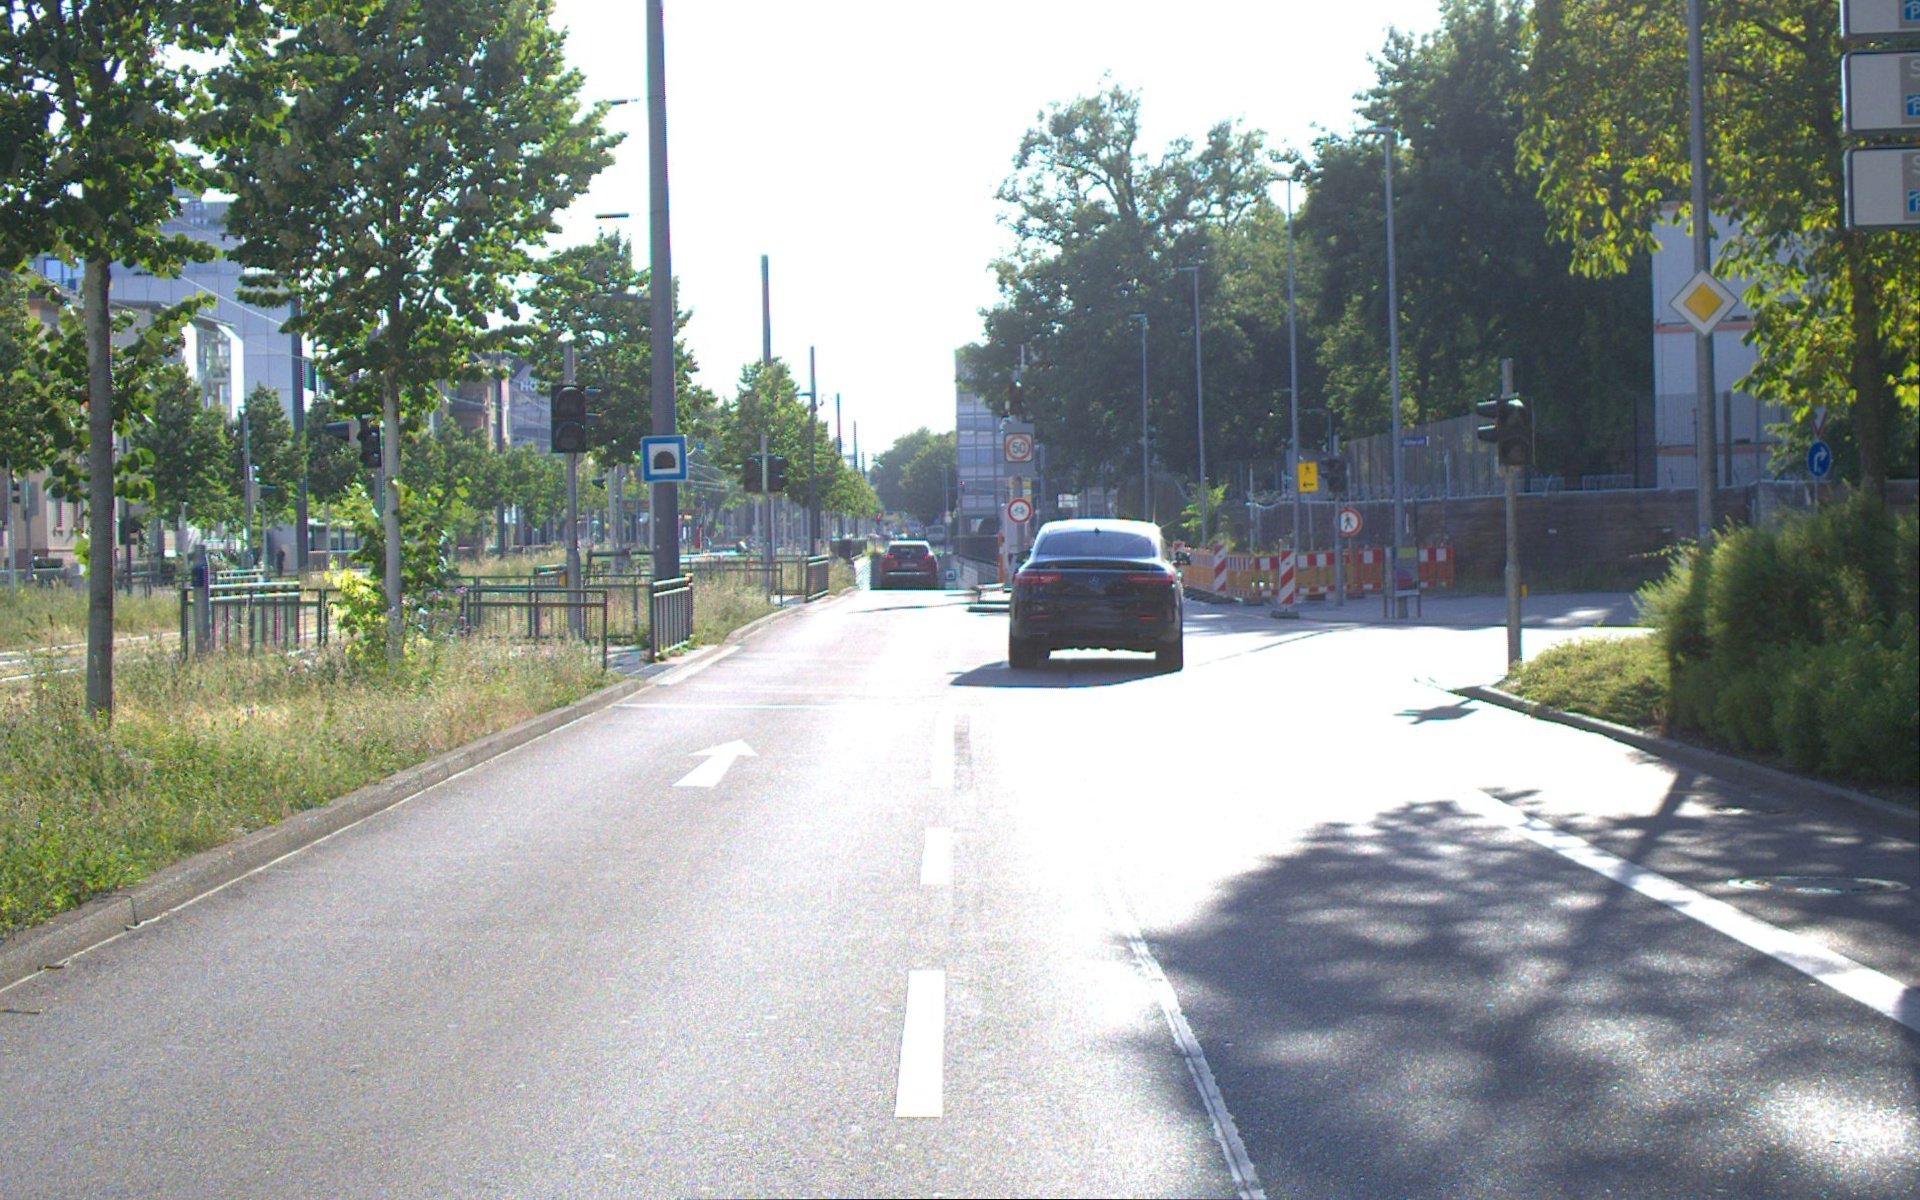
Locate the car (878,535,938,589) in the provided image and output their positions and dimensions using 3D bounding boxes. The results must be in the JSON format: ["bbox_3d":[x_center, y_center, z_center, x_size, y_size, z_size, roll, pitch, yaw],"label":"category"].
[{"bbox_3d":[-1.631,-1.192,108.710,1.827,1.653,4.000,1,1,0],"label":"car"}]

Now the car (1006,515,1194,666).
[{"bbox_3d":[1.588,-0.129,40.438,2.005,1.653,4.000,1,1,0],"label":"car"}]
